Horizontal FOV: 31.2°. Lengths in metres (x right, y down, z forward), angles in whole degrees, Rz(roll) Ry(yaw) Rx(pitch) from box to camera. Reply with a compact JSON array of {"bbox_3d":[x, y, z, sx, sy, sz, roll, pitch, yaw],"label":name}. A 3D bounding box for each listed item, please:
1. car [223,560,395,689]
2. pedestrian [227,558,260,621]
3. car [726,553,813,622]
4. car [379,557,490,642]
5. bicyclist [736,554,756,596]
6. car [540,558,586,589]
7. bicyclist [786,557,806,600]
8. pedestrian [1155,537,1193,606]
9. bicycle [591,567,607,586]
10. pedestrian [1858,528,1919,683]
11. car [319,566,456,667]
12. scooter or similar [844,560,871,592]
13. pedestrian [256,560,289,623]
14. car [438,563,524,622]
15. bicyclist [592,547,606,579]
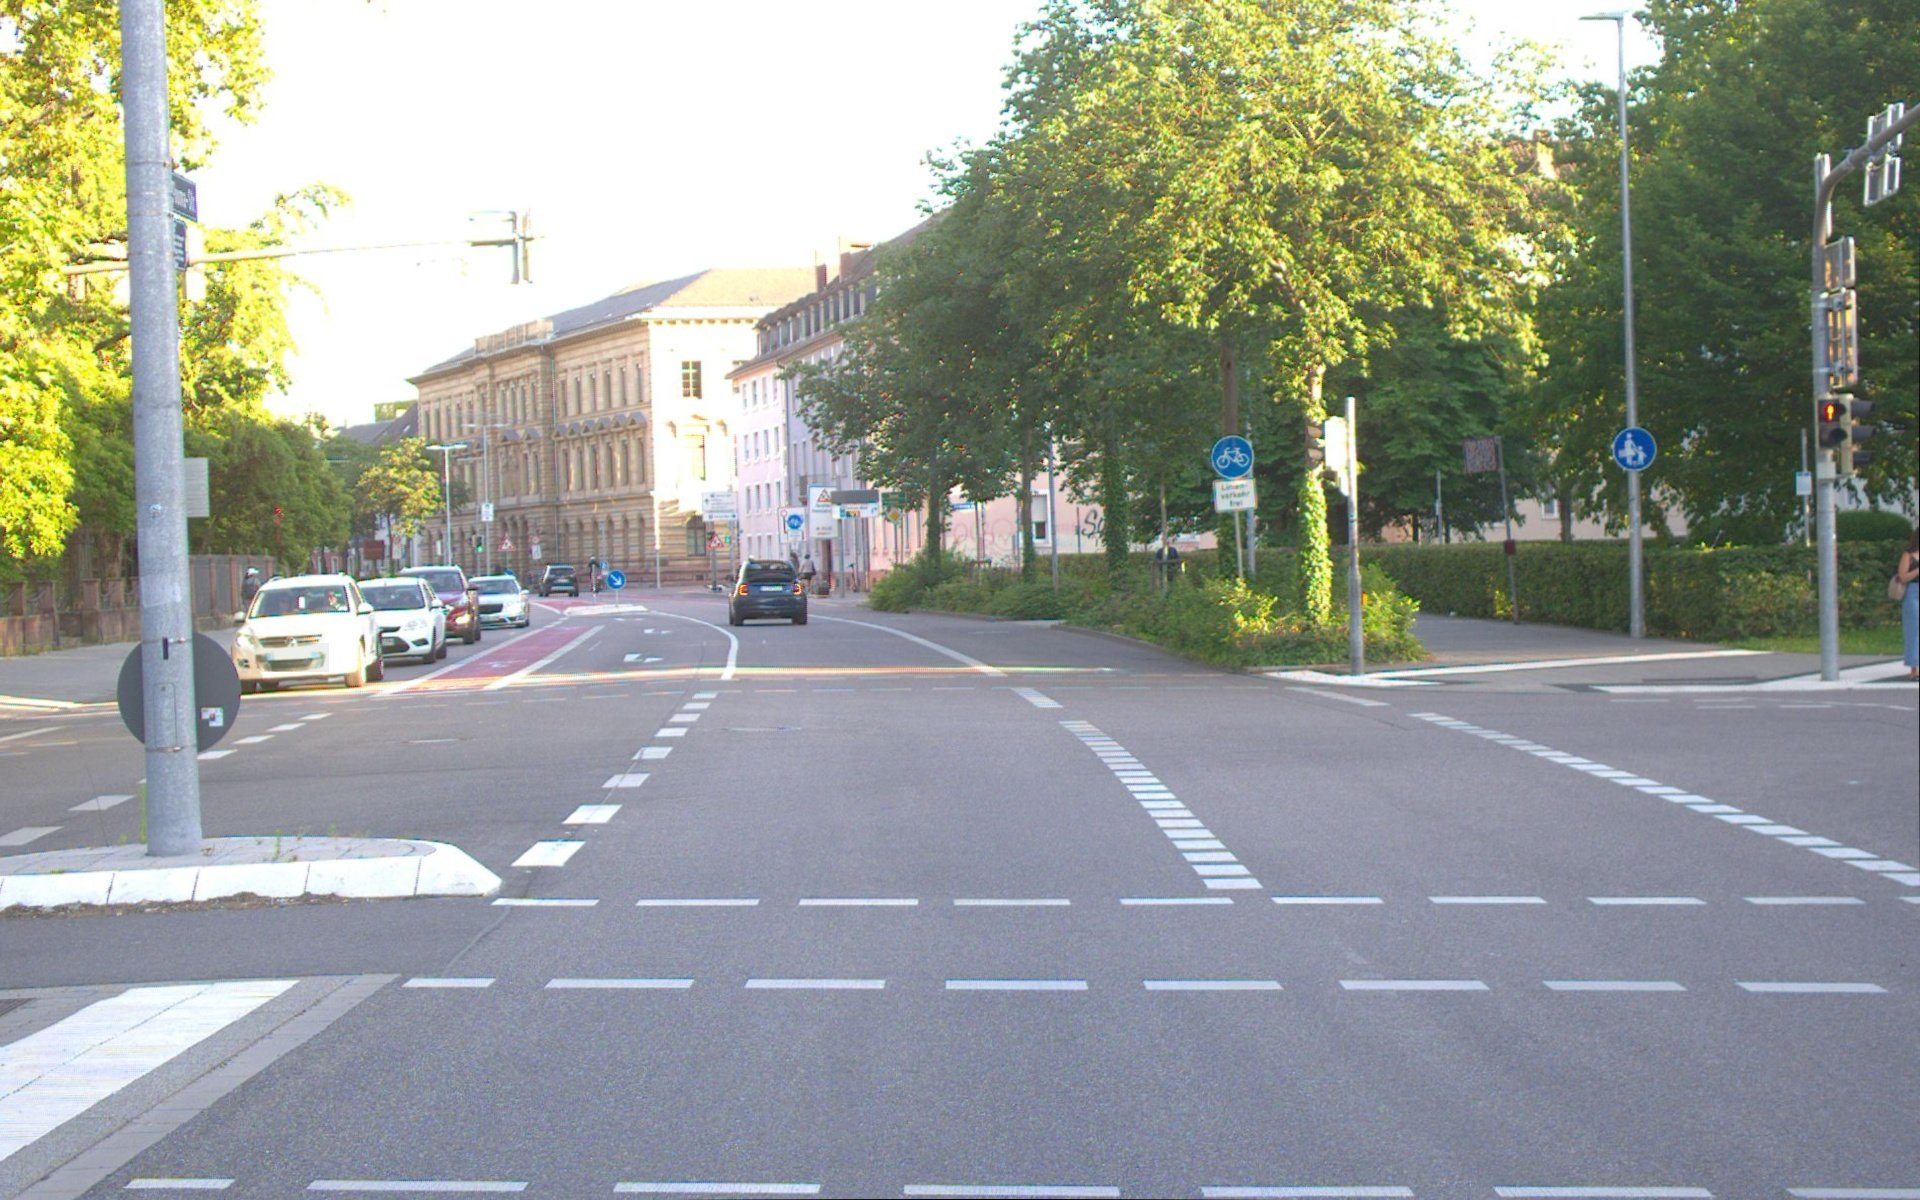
[{"bbox_3d":[-9.497,0.318,50.453,1.916,1.690,4.427,-3,1,-5],"label":"car"},{"bbox_3d":[-18.723,-0.272,89.853,0.681,1.617,0.688,-2,1,-1],"label":"pedestrian"},{"bbox_3d":[-4.473,-0.309,80.228,1.867,1.504,4.001,-2,1,-5],"label":"car"},{"bbox_3d":[-11.121,-0.039,73.066,1.916,1.619,4.640,-3,1,-5],"label":"car"},{"bbox_3d":[-7.444,-0.863,119.551,0.652,1.441,0.879,1,0,-3],"label":"bicyclist"},{"bbox_3d":[-19.936,-1.324,172.533,1.916,1.413,4.771,-4,1,-10],"label":"car"},{"bbox_3d":[-5.724,-0.749,119.956,0.652,1.470,0.941,1,0,-5],"label":"bicyclist"},{"bbox_3d":[5.467,-0.742,87.963,0.769,1.733,0.807,-2,1,-10],"label":"pedestrian"},{"bbox_3d":[-18.954,-1.245,180.492,0.652,1.012,2.198,1,1,-10],"label":"bicycle"},{"bbox_3d":[10.095,0.047,36.859,0.681,1.616,0.845,-2,1,-1],"label":"pedestrian"},{"bbox_3d":[-10.019,0.254,60.461,1.916,1.578,4.675,-3,1,-5],"label":"car"},{"bbox_3d":[-4.333,-1.006,145.354,0.629,1.332,2.401,-1,1,-14],"label":"scooter or similar"},{"bbox_3d":[-17.952,-0.235,89.816,0.681,1.617,0.688,-2,1,-1],"label":"pedestrian"},{"bbox_3d":[-12.758,-0.220,91.789,1.916,1.413,4.771,-3,1,-5],"label":"car"},{"bbox_3d":[-18.949,-1.942,180.506,0.652,1.692,0.957,1,0,-10],"label":"bicyclist"}]
